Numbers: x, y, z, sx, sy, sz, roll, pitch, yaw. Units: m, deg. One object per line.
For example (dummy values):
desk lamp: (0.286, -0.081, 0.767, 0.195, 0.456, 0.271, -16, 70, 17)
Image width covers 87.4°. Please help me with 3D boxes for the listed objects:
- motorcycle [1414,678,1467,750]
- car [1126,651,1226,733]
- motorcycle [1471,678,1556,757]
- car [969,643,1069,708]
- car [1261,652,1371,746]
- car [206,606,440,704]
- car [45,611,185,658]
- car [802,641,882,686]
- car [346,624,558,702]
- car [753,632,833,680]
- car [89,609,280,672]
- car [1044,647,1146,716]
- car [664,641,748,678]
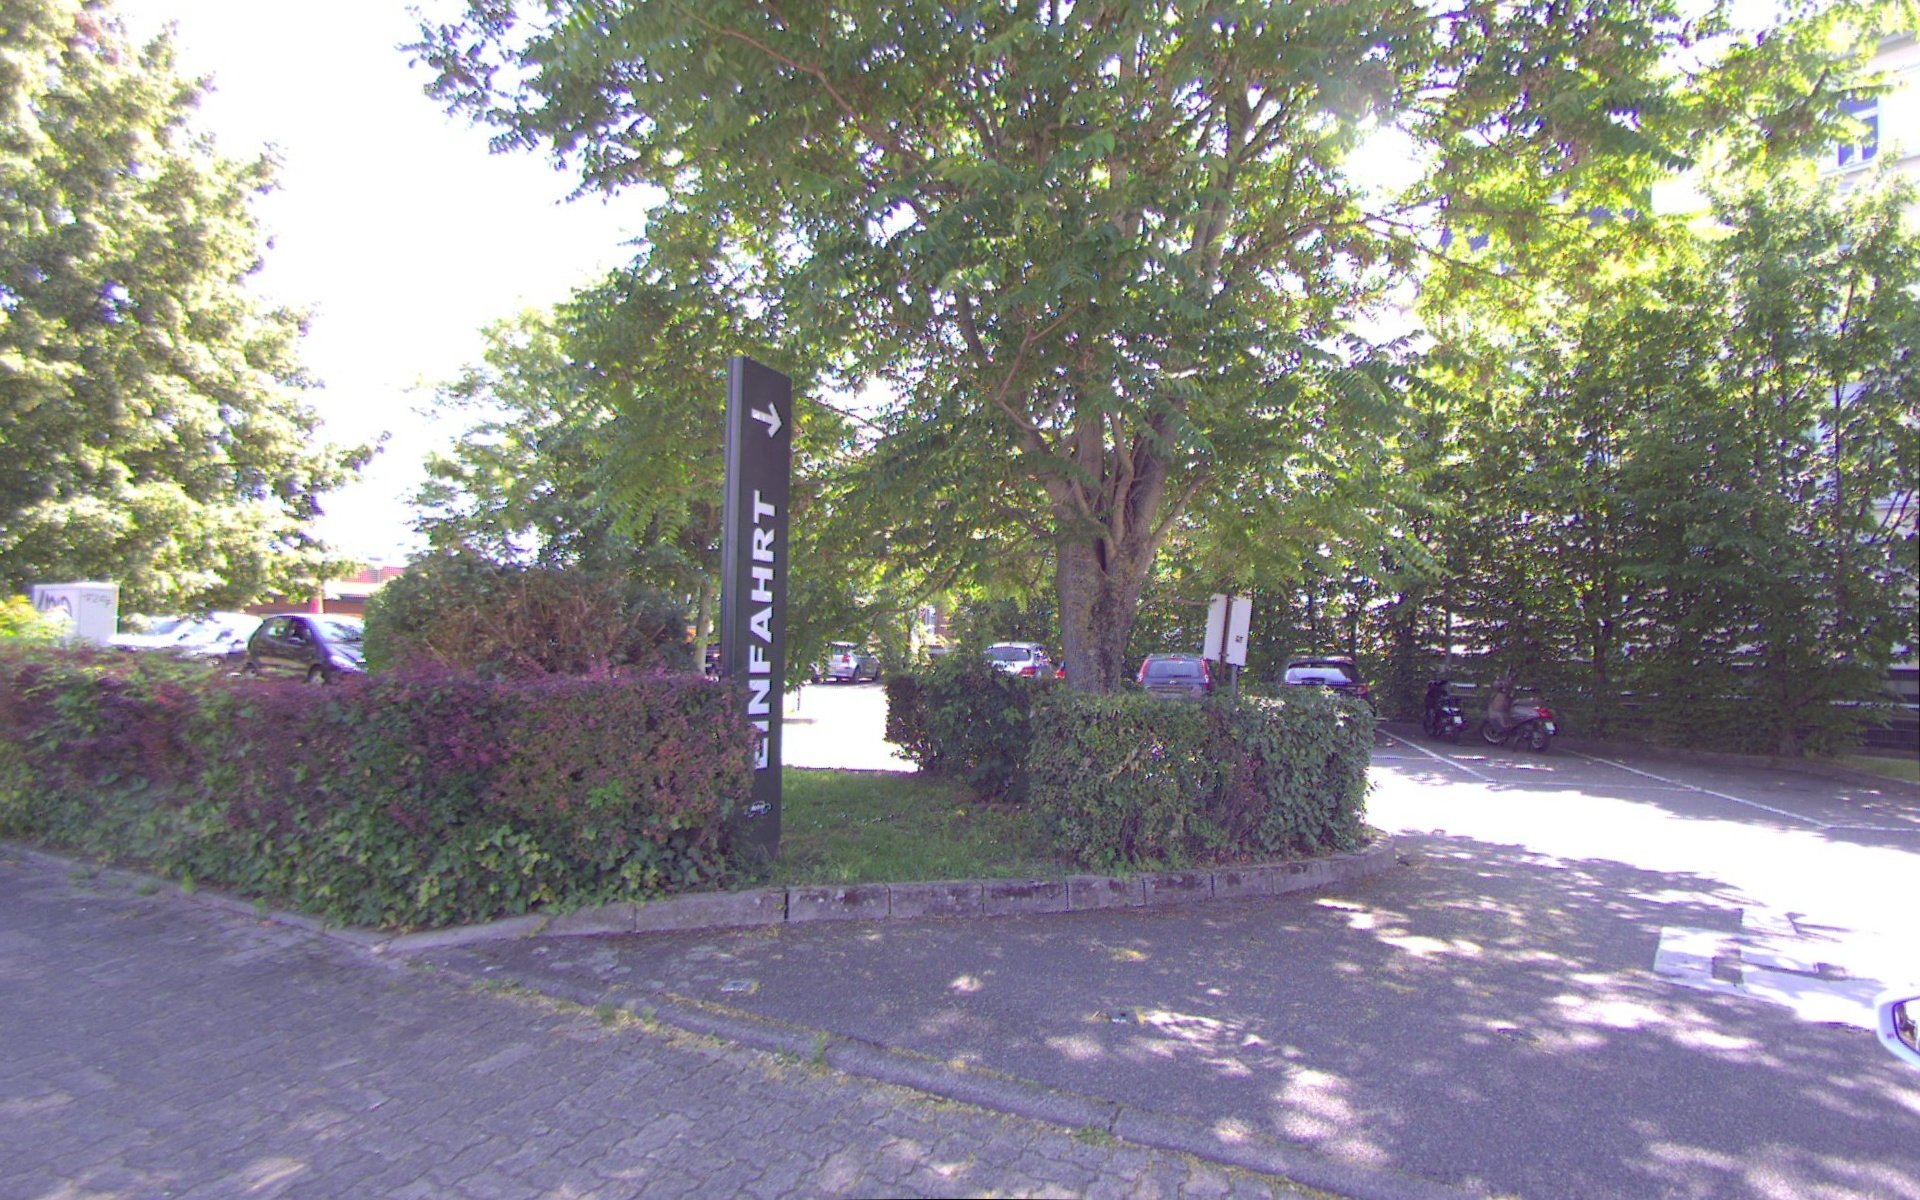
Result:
motorcycle: (8.551, 2.003, 17.920, 0.465, 1.155, 1.607, 1, -3, 12)
car: (4.584, 1.833, 20.953, 1.670, 1.472, 4.002, 0, -2, 17)
motorcycle: (9.127, 1.910, 16.629, 0.559, 1.184, 1.606, 1, -3, 2)
car: (1.687, 1.977, 27.355, 1.739, 1.592, 4.002, 0, -2, 18)
car: (6.571, 1.753, 18.856, 1.627, 1.489, 3.907, 0, -2, 15)
car: (-12.641, 1.091, 19.920, 4.286, 1.707, 1.861, 1, -5, 27)
car: (-31.943, 1.317, 37.996, 4.058, 1.572, 1.923, 1, -3, 13)
car: (-4.184, 2.240, 36.265, 1.738, 1.495, 4.003, 0, -2, 10)
car: (-11.104, 1.368, 21.943, 4.286, 1.471, 1.861, 1, -5, 27)
car: (-6.402, 2.147, 38.973, 1.738, 1.757, 4.003, -1, -2, 12)
car: (-23.240, 1.250, 30.322, 1.824, 1.707, 4.317, 2, -3, 12)
car: (3.430, 1.947, 24.924, 1.739, 1.489, 4.001, 0, -2, 19)
car: (-10.368, 2.438, 41.349, 1.738, 1.407, 4.004, 0, -3, 12)
